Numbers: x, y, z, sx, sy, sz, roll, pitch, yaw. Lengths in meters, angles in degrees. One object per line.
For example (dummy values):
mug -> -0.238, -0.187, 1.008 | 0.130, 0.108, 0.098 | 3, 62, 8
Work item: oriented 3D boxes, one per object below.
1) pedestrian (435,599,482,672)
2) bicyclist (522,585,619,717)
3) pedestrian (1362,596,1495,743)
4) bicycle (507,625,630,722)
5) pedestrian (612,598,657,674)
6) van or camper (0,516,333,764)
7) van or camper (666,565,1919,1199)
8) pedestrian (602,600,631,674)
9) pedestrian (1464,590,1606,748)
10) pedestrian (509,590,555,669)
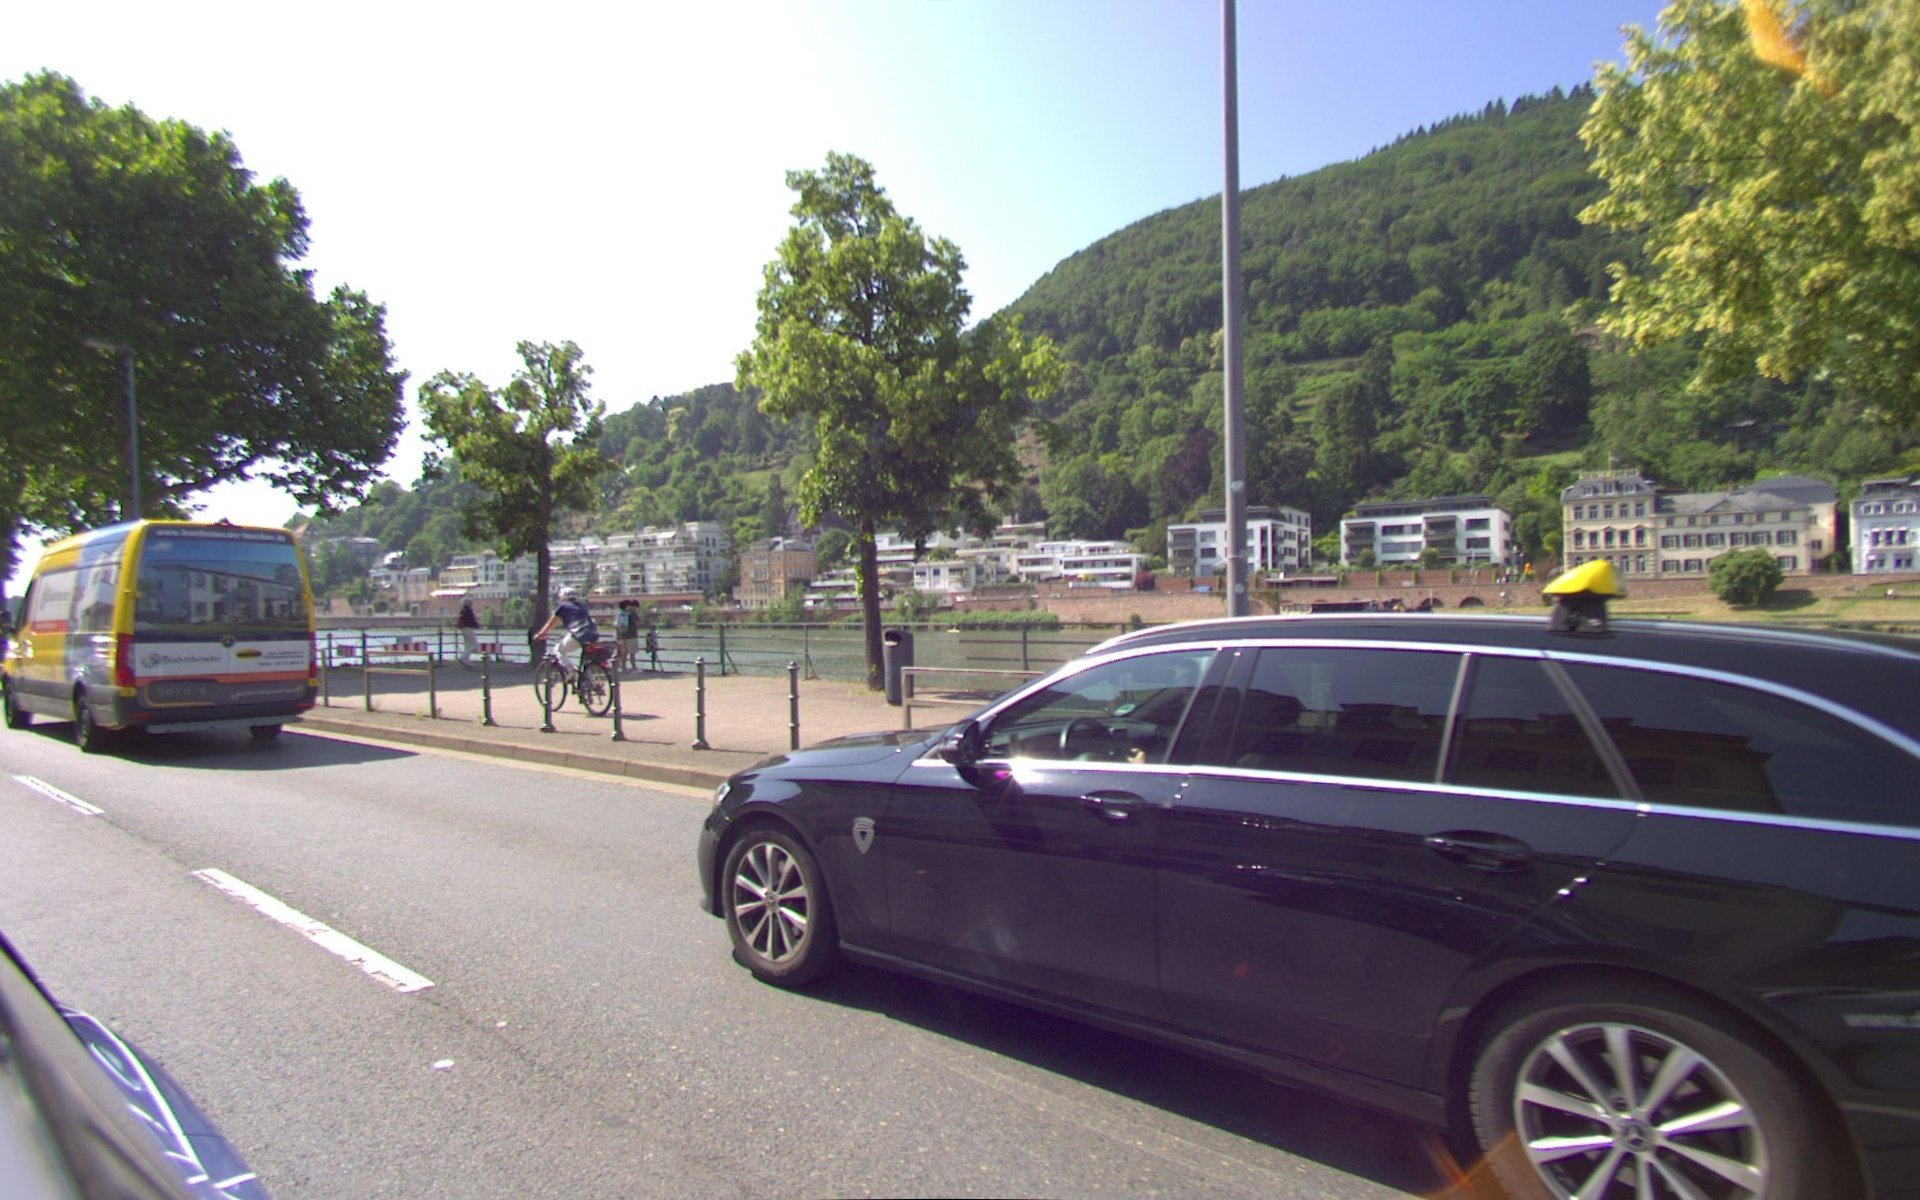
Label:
pedestrian -> -12.289, 0.858, 24.798 | 0.658, 1.695, 0.748 | -1, 2, 41
bicyclist -> -5.180, 0.659, 13.465 | 1.088, 1.680, 0.733 | -2, -1, 39
pedestrian -> 4.437, 0.618, 9.585 | 0.926, 1.290, 0.850 | -1, -1, -45
bicycle -> -5.242, 0.952, 13.486 | 1.895, 1.177, 0.704 | -2, -1, 41
pedestrian -> -7.076, 0.769, 21.986 | 0.664, 1.628, 0.686 | -1, -1, 44
van or camper -> -10.978, 0.458, 13.541 | 7.082, 2.576, 2.068 | -1, 0, 38
van or camper -> 1.179, 0.718, 3.584 | 4.678, 1.466, 1.974 | -1, -2, 39
pedestrian -> -7.578, 0.808, 22.326 | 0.451, 1.609, 0.410 | -1, -1, 44
pedestrian -> 5.075, 0.570, 8.932 | 0.926, 1.290, 0.850 | -1, -1, -45
pedestrian -> -10.830, 0.740, 25.596 | 0.885, 1.960, 0.687 | -1, -1, 36
